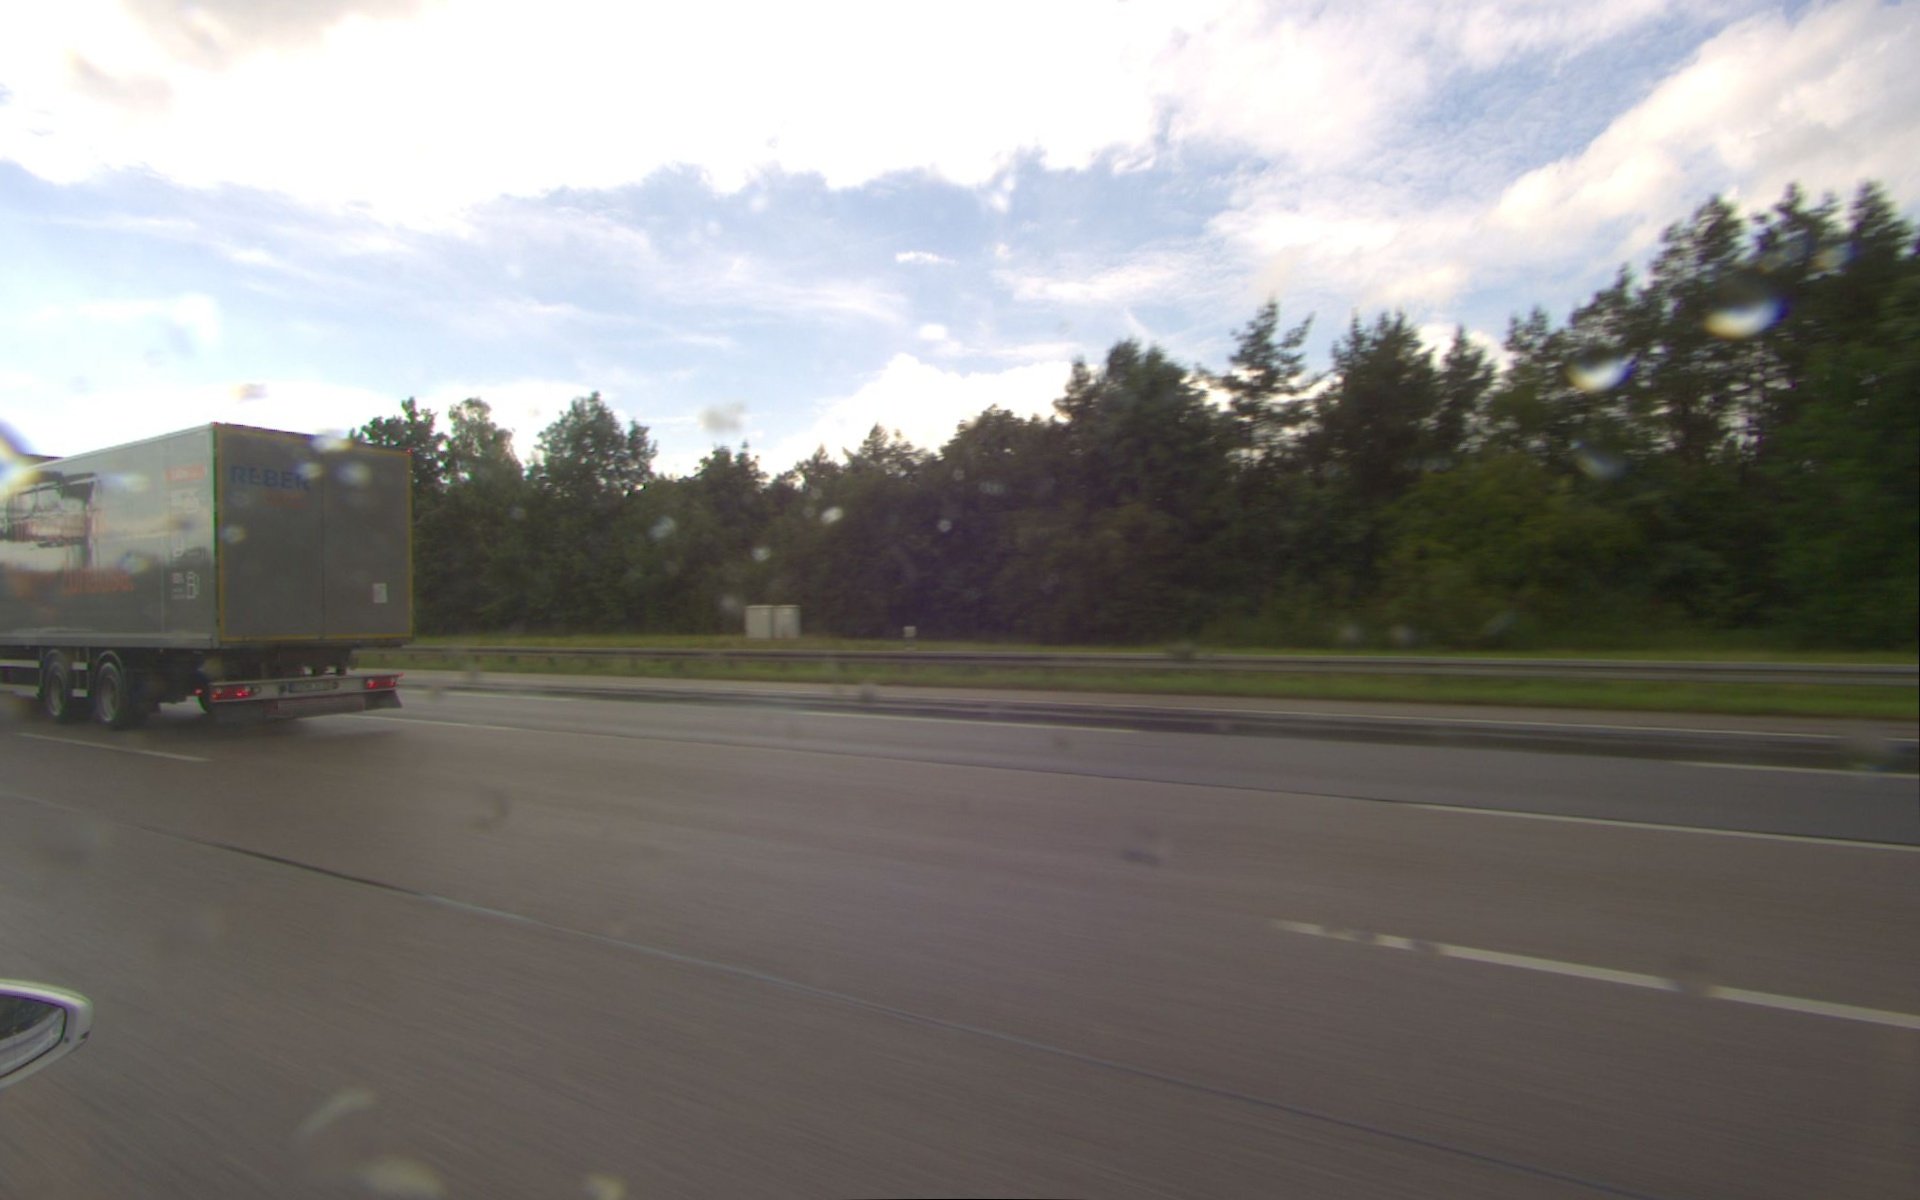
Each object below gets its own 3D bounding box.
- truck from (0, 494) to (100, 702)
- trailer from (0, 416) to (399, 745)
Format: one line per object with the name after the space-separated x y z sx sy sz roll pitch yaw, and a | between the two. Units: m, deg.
-20.207 -0.005 20.638 5.314 3.919 2.289 -1 0 32 | truck
-14.228 -0.141 16.878 13.219 4.054 2.319 -1 0 32 | trailer
